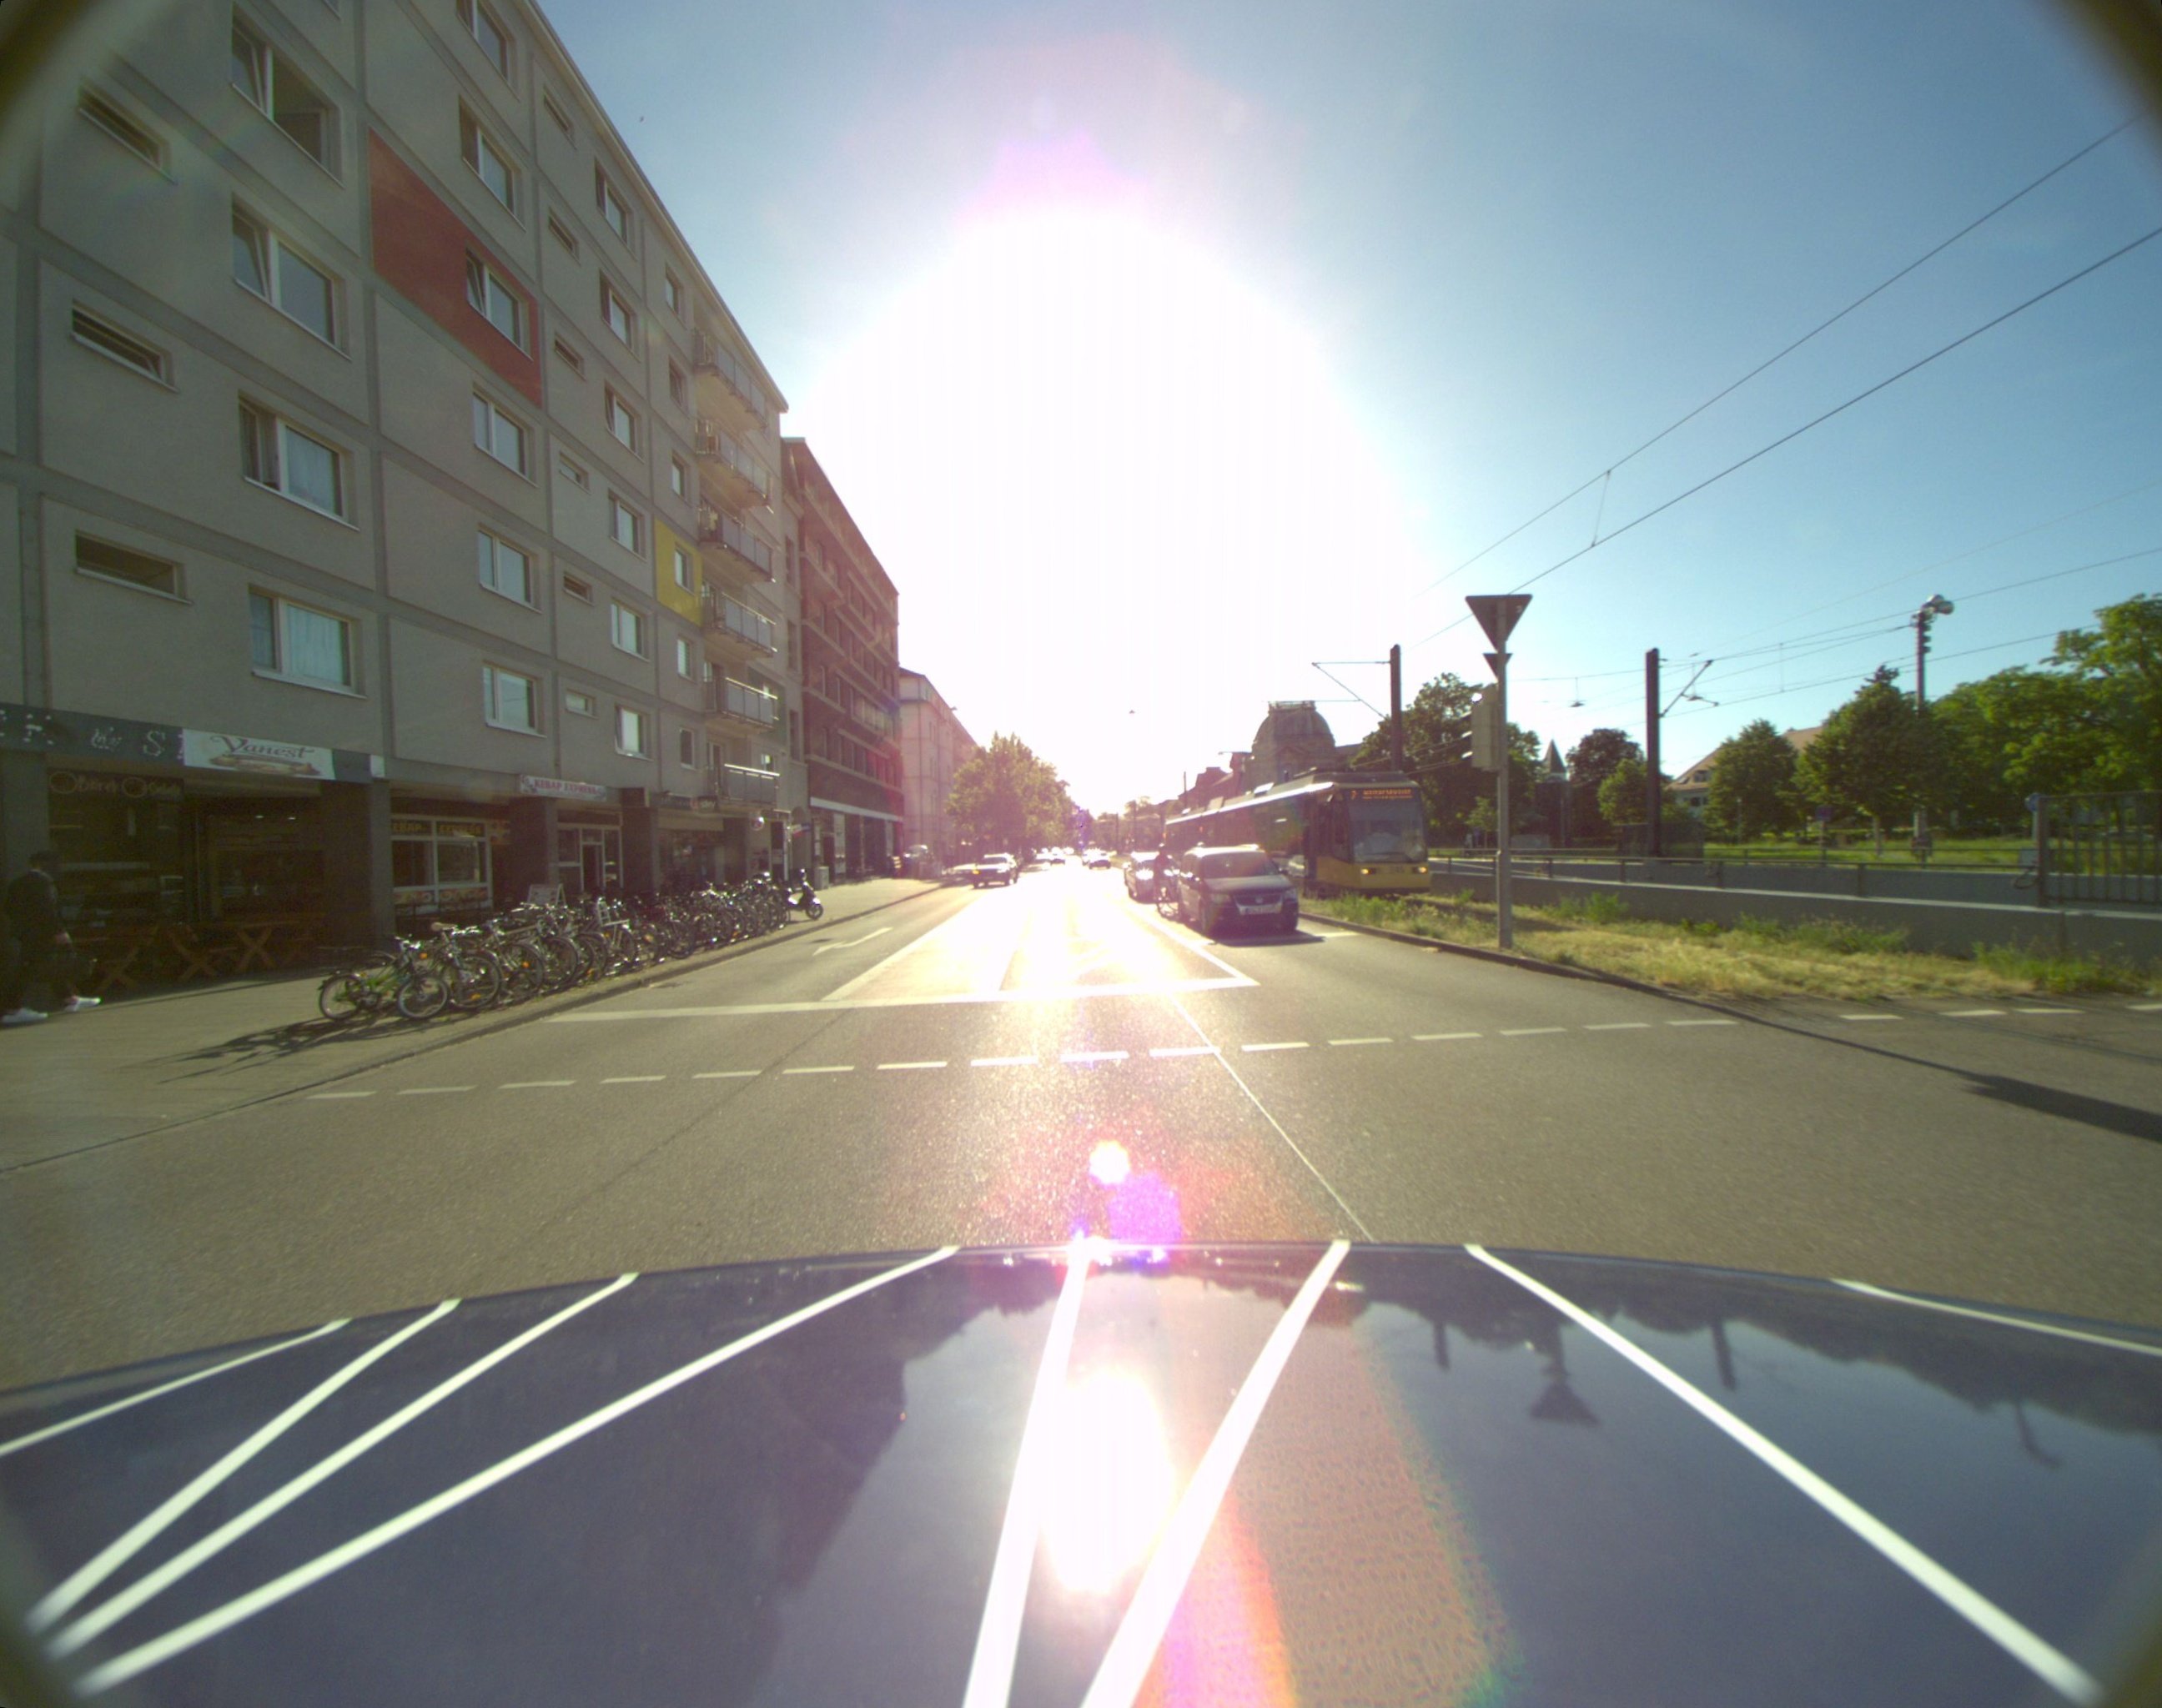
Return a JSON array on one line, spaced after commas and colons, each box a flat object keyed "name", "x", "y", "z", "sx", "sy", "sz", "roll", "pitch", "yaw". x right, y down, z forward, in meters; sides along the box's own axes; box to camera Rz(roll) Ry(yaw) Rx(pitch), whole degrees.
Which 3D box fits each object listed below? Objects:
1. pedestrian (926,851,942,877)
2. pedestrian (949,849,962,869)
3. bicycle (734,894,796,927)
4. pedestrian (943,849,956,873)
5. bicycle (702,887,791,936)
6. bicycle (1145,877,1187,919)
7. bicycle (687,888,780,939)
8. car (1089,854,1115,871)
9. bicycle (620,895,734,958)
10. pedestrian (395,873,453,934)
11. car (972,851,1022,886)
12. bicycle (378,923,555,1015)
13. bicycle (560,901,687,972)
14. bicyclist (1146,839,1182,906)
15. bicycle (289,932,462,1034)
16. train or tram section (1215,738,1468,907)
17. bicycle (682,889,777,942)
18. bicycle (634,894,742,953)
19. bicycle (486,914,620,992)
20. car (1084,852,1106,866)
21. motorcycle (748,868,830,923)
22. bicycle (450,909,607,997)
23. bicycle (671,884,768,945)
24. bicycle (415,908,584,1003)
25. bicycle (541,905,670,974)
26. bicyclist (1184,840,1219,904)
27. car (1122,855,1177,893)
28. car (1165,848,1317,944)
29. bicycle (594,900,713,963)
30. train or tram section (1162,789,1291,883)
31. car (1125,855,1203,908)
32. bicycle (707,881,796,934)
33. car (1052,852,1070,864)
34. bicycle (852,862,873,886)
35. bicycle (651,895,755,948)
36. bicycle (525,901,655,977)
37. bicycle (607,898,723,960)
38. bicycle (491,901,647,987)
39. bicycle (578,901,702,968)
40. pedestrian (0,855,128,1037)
[{"name": "pedestrian", "x": -9.594, "y": 0.630, "z": 49.549, "sx": 0.772, "sy": 1.641, "sz": 0.672, "roll": -2, "pitch": 1, "yaw": 10}, {"name": "pedestrian", "x": -11.007, "y": 0.436, "z": 66.452, "sx": 0.868, "sy": 1.639, "sz": 0.981, "roll": -2, "pitch": 1, "yaw": -24}, {"name": "bicycle", "x": -8.013, "y": 1.434, "z": 19.311, "sx": 1.348, "sy": 0.760, "sz": 0.570, "roll": 0, "pitch": 1, "yaw": -6}, {"name": "pedestrian", "x": -10.711, "y": 0.583, "z": 61.888, "sx": 0.867, "sy": 1.873, "sz": 1.221, "roll": -2, "pitch": 1, "yaw": -18}, {"name": "bicycle", "x": -7.705, "y": 1.314, "z": 17.554, "sx": 1.823, "sy": 1.054, "sz": 0.415, "roll": -1, "pitch": 2, "yaw": -6}, {"name": "bicycle", "x": 2.245, "y": 1.153, "z": 20.292, "sx": 0.631, "sy": 0.934, "sz": 1.904, "roll": -3, "pitch": 1, "yaw": -7}, {"name": "bicycle", "x": -7.801, "y": 1.326, "z": 17.104, "sx": 1.823, "sy": 1.054, "sz": 0.415, "roll": -1, "pitch": 2, "yaw": -6}, {"name": "car", "x": 1.679, "y": 0.651, "z": 62.945, "sx": 1.858, "sy": 1.284, "sz": 4.094, "roll": -2, "pitch": 1, "yaw": -2}, {"name": "bicycle", "x": -7.595, "y": 1.353, "z": 14.333, "sx": 1.823, "sy": 1.064, "sz": 0.415, "roll": -2, "pitch": 3, "yaw": -6}, {"name": "pedestrian", "x": -16.602, "y": 1.228, "z": 19.216, "sx": 0.766, "sy": 1.466, "sz": 0.713, "roll": -2, "pitch": 1, "yaw": -2}, {"name": "car", "x": -4.488, "y": 0.748, "z": 41.159, "sx": 1.901, "sy": 1.677, "sz": 4.119, "roll": -2, "pitch": 1, "yaw": 5}, {"name": "bicycle", "x": -7.422, "y": 1.380, "z": 9.216, "sx": 1.704, "sy": 1.005, "sz": 0.410, "roll": -1, "pitch": 2, "yaw": -5}, {"name": "bicycle", "x": -7.615, "y": 1.367, "z": 12.671, "sx": 1.823, "sy": 1.107, "sz": 0.405, "roll": -1, "pitch": 1, "yaw": -2}, {"name": "bicyclist", "x": 2.210, "y": 0.482, "z": 20.253, "sx": 0.704, "sy": 1.720, "sz": 0.853, "roll": -3, "pitch": 2, "yaw": -7}, {"name": "bicycle", "x": -7.543, "y": 1.373, "z": 8.147, "sx": 1.433, "sy": 1.005, "sz": 0.410, "roll": 0, "pitch": 2, "yaw": 0}, {"name": "train or tram section", "x": 6.965, "y": -0.732, "z": 23.516, "sx": 2.957, "sy": 3.664, "sz": 13.181, "roll": -2, "pitch": 0, "yaw": -1}, {"name": "bicycle", "x": -7.718, "y": 1.340, "z": 16.711, "sx": 1.823, "sy": 1.054, "sz": 0.415, "roll": -2, "pitch": 2, "yaw": -6}, {"name": "bicycle", "x": -7.640, "y": 1.346, "z": 14.818, "sx": 1.823, "sy": 1.063, "sz": 0.415, "roll": -1, "pitch": 3, "yaw": -6}, {"name": "bicycle", "x": -7.481, "y": 1.400, "z": 10.793, "sx": 1.547, "sy": 0.960, "sz": 0.387, "roll": -3, "pitch": 2, "yaw": -2}, {"name": "car", "x": 1.368, "y": 0.512, "z": 77.403, "sx": 1.987, "sy": 1.284, "sz": 4.325, "roll": -2, "pitch": 1, "yaw": -2}, {"name": "motorcycle", "x": -7.885, "y": 1.112, "z": 20.579, "sx": 1.884, "sy": 1.421, "sz": 0.888, "roll": 0, "pitch": 1, "yaw": -6}, {"name": "bicycle", "x": -7.502, "y": 1.343, "z": 10.358, "sx": 1.754, "sy": 1.094, "sz": 0.399, "roll": -1, "pitch": 2, "yaw": -4}, {"name": "bicycle", "x": -7.730, "y": 1.288, "z": 16.292, "sx": 1.782, "sy": 1.222, "sz": 0.415, "roll": -2, "pitch": 2, "yaw": -6}, {"name": "bicycle", "x": -7.576, "y": 1.316, "z": 9.934, "sx": 1.756, "sy": 1.070, "sz": 0.406, "roll": -3, "pitch": 2, "yaw": -4}, {"name": "bicycle", "x": -7.675, "y": 1.371, "z": 12.289, "sx": 1.774, "sy": 1.049, "sz": 0.415, "roll": 0, "pitch": 2, "yaw": -3}, {"name": "bicyclist", "x": 3.208, "y": 0.461, "z": 20.307, "sx": 0.694, "sy": 1.650, "sz": 0.919, "roll": -3, "pitch": 2, "yaw": -2}, {"name": "car", "x": 2.991, "y": 0.827, "z": 33.831, "sx": 1.891, "sy": 1.421, "sz": 4.131, "roll": -3, "pitch": 1, "yaw": -2}, {"name": "car", "x": 3.063, "y": 0.719, "z": 15.549, "sx": 1.999, "sy": 1.528, "sz": 4.354, "roll": -3, "pitch": 1, "yaw": -2}, {"name": "bicycle", "x": -7.585, "y": 1.370, "z": 13.514, "sx": 1.823, "sy": 1.054, "sz": 0.415, "roll": 0, "pitch": 1, "yaw": -4}, {"name": "train or tram section", "x": 6.452, "y": -0.755, "z": 36.679, "sx": 2.957, "sy": 3.591, "sz": 13.630, "roll": -2, "pitch": 0, "yaw": -3}, {"name": "car", "x": 2.700, "y": 0.854, "z": 25.636, "sx": 1.999, "sy": 1.421, "sz": 4.131, "roll": -3, "pitch": 1, "yaw": -2}, {"name": "bicycle", "x": -8.059, "y": 1.303, "z": 18.636, "sx": 1.823, "sy": 1.167, "sz": 0.703, "roll": -2, "pitch": 2, "yaw": -6}, {"name": "car", "x": -2.326, "y": 0.453, "z": 86.556, "sx": 1.987, "sy": 1.284, "sz": 4.392, "roll": -2, "pitch": 1, "yaw": -2}, {"name": "bicycle", "x": -11.972, "y": 1.083, "z": 41.610, "sx": 0.598, "sy": 1.235, "sz": 1.932, "roll": -1, "pitch": 1, "yaw": -2}, {"name": "bicycle", "x": -7.657, "y": 1.364, "z": 15.434, "sx": 1.823, "sy": 1.006, "sz": 0.415, "roll": -1, "pitch": 2, "yaw": -6}, {"name": "bicycle", "x": -7.584, "y": 1.312, "z": 11.785, "sx": 1.643, "sy": 1.105, "sz": 0.530, "roll": 1, "pitch": 1, "yaw": -4}, {"name": "bicycle", "x": -7.610, "y": 1.366, "z": 13.937, "sx": 1.823, "sy": 1.054, "sz": 0.415, "roll": -1, "pitch": 2, "yaw": -5}, {"name": "bicycle", "x": -7.548, "y": 1.313, "z": 11.257, "sx": 1.819, "sy": 1.076, "sz": 0.530, "roll": -3, "pitch": 2, "yaw": -5}, {"name": "bicycle", "x": -7.572, "y": 1.378, "z": 13.081, "sx": 1.823, "sy": 1.054, "sz": 0.415, "roll": -1, "pitch": 2, "yaw": -2}, {"name": "pedestrian", "x": -11.477, "y": 0.972, "z": 8.357, "sx": 0.791, "sy": 1.875, "sz": 0.875, "roll": -2, "pitch": 1, "yaw": 5}]
